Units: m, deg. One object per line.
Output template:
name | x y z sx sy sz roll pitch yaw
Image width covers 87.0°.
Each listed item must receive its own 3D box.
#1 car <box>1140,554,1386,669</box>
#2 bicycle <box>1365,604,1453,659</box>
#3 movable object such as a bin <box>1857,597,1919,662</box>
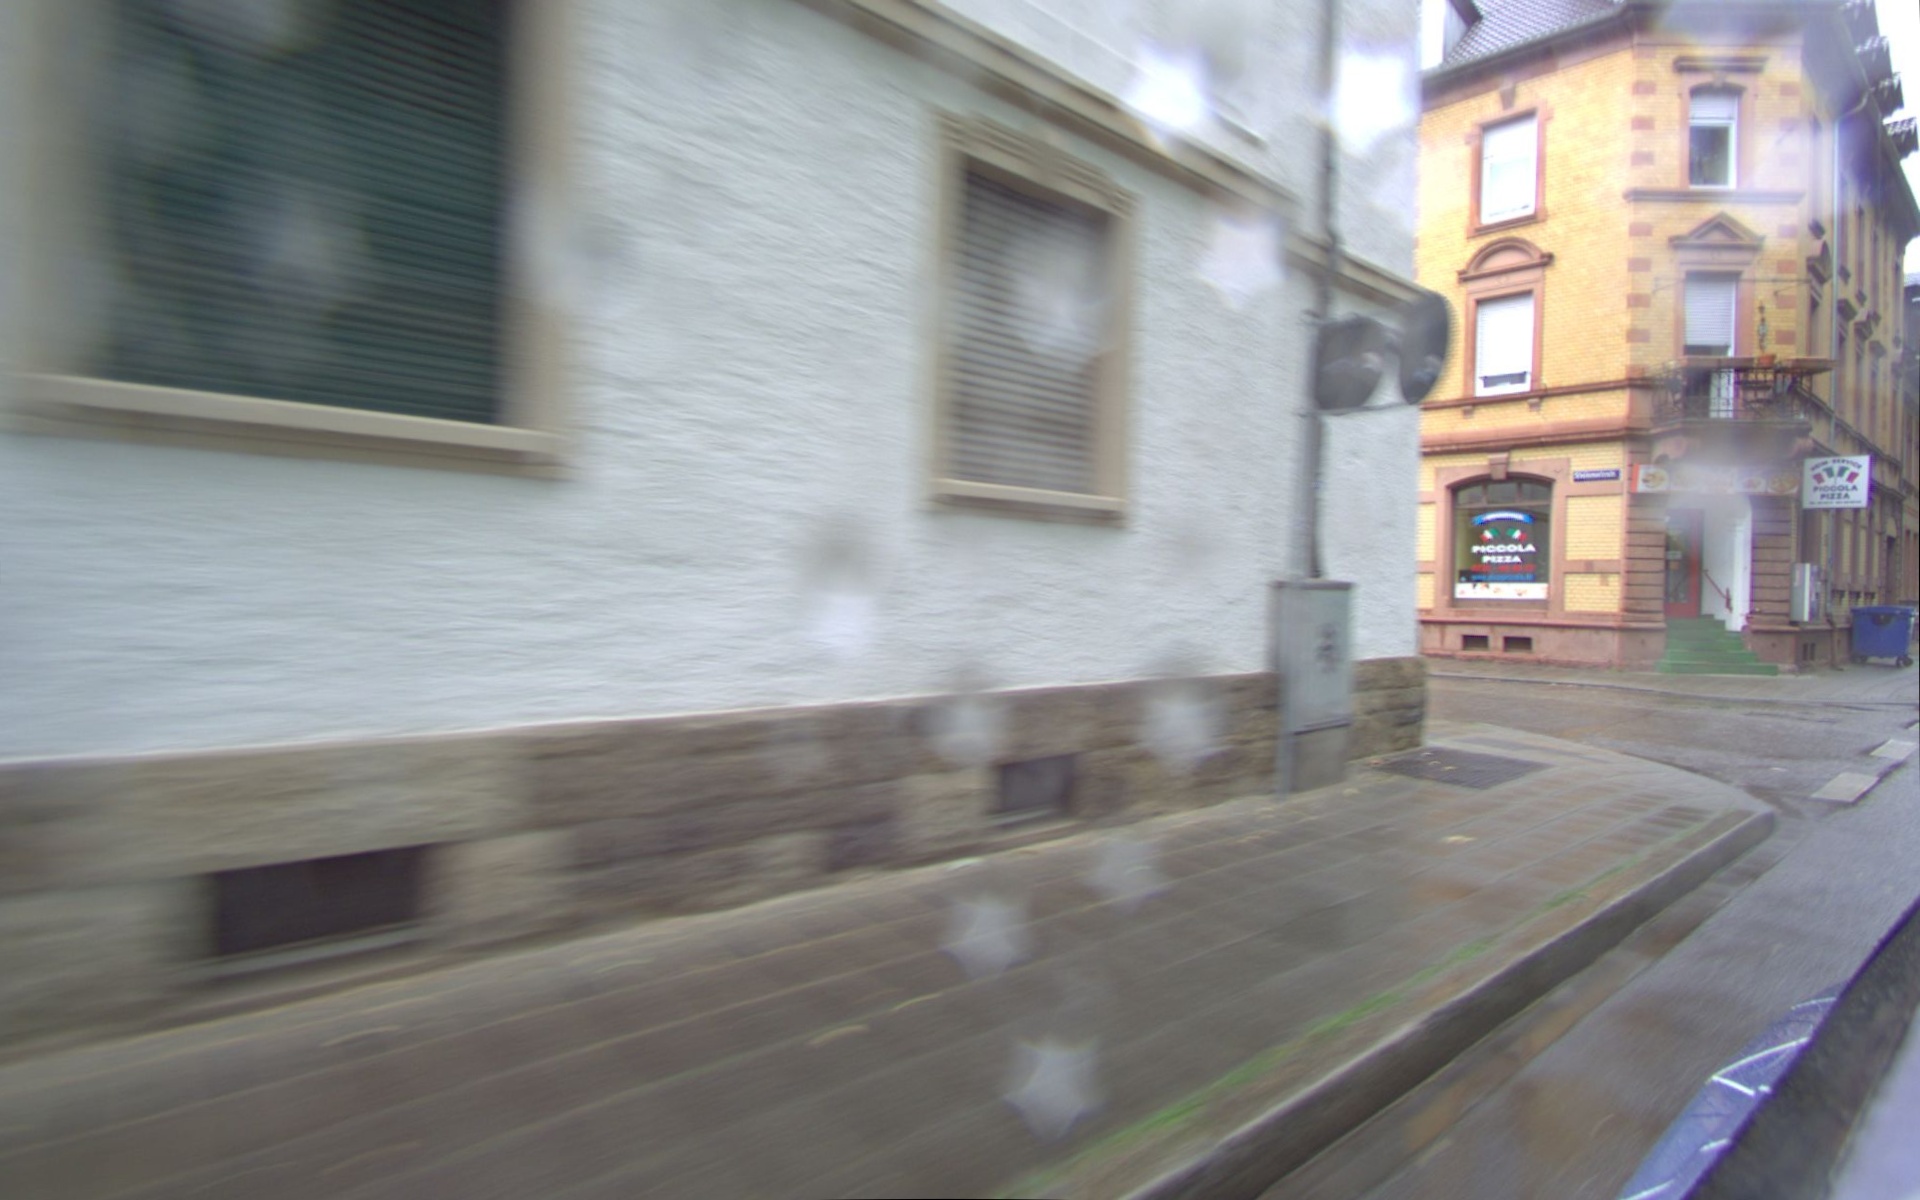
car | 5.845 0.152 19.837 1.903 1.967 4.231 -4 3 -44
bicycle | 8.964 0.613 20.241 1.538 1.020 0.427 1 0 44
movable object such as a bin | 20.738 0.638 22.443 1.343 1.317 1.023 1 3 -41
